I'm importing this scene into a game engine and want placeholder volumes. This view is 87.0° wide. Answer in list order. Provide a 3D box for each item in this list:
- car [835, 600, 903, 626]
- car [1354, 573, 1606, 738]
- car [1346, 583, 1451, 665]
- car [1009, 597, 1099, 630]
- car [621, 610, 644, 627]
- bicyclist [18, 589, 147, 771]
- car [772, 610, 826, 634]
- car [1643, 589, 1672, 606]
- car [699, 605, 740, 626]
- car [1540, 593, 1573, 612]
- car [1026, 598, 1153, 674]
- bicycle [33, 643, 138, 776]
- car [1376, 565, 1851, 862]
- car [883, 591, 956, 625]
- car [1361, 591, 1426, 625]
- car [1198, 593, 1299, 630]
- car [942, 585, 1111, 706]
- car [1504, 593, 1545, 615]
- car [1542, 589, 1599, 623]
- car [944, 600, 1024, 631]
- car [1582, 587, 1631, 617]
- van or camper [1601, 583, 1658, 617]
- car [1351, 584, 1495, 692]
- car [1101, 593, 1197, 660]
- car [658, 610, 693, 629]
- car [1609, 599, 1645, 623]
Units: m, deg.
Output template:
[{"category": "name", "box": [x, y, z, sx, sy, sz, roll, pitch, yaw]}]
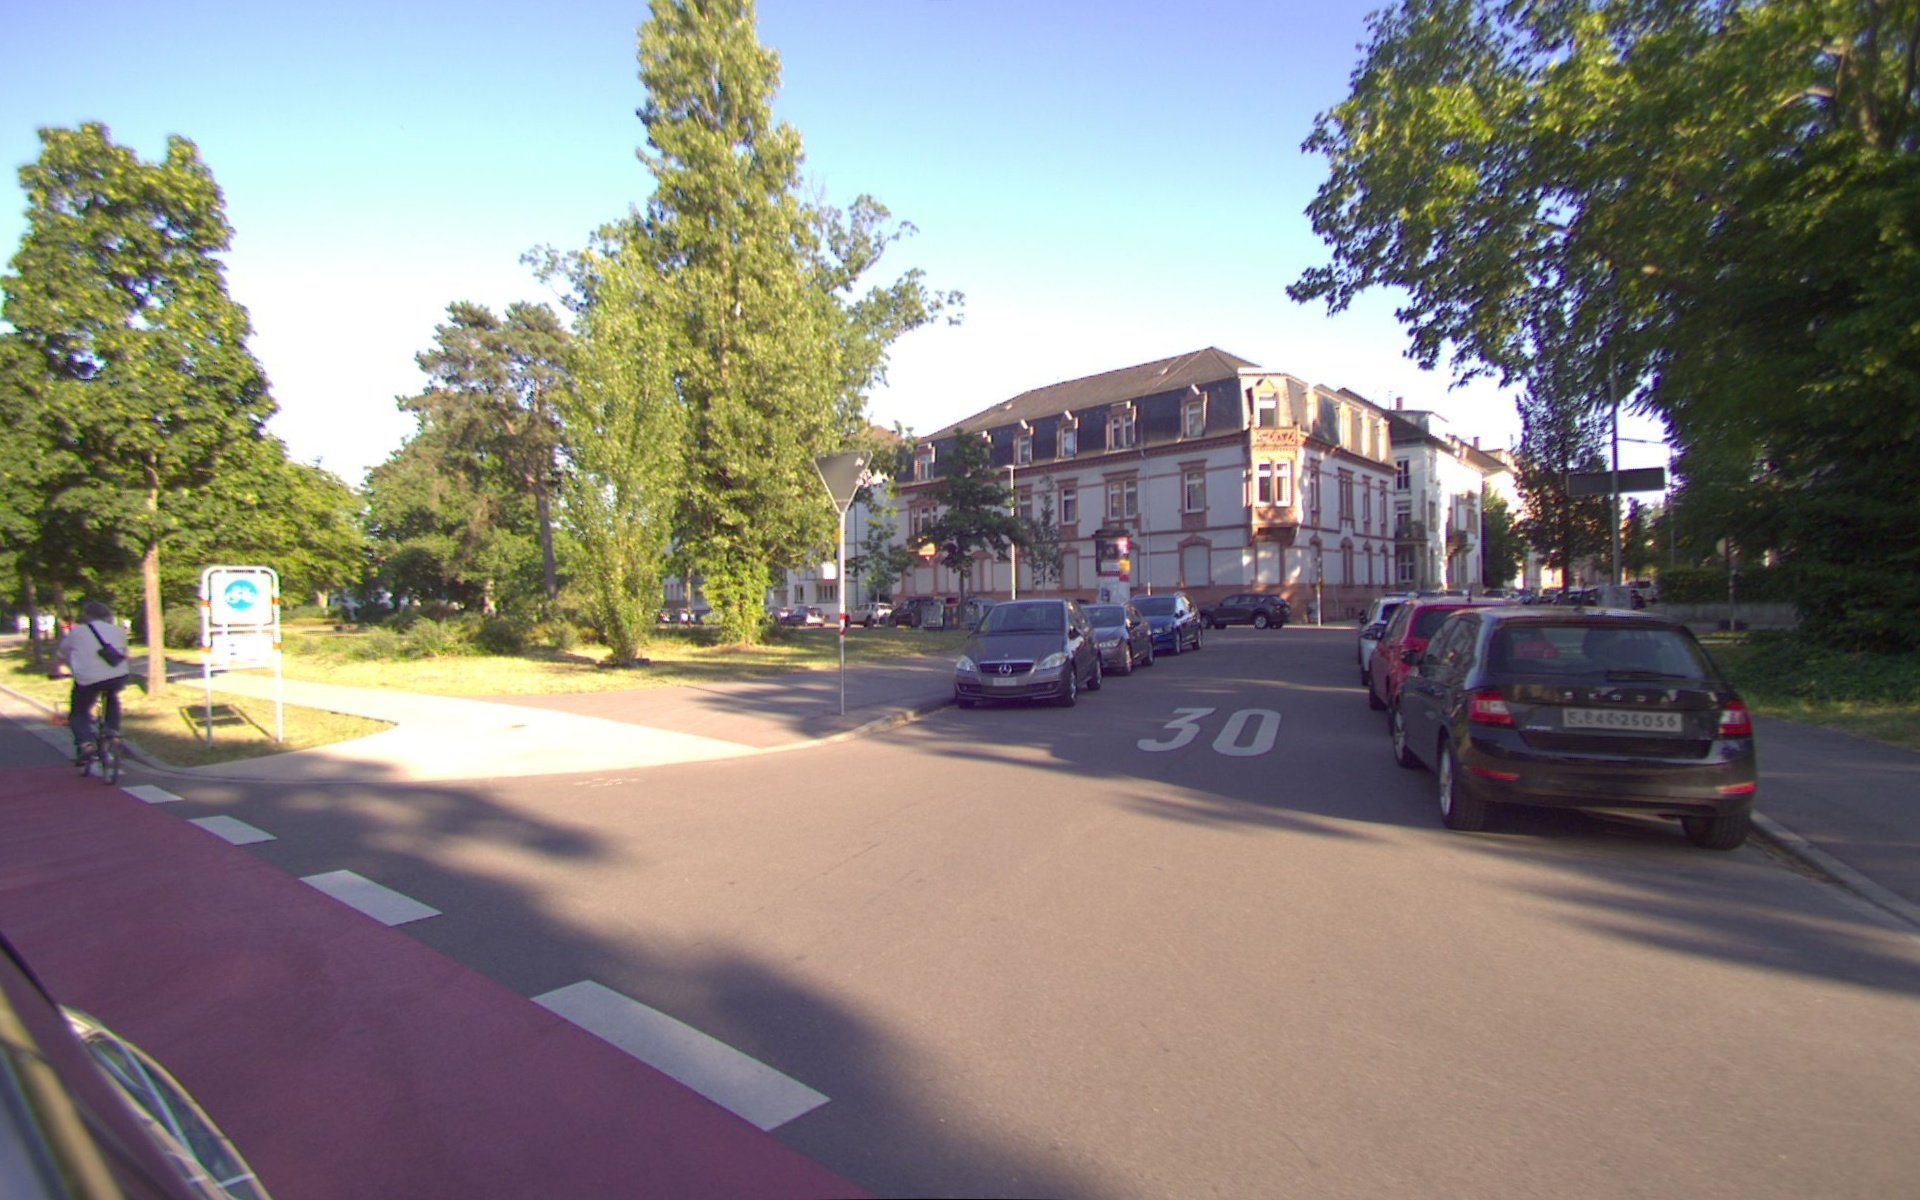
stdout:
[{"category": "car", "box": [-5.923, 0.823, 65.598, 4.601, 1.586, 1.863, 1, 1, 45]}, {"category": "car", "box": [5.865, 0.504, 11.943, 1.874, 1.586, 3.979, 0, 1, 16]}, {"category": "car", "box": [9.371, 0.445, 21.898, 1.877, 1.586, 3.973, 1, 1, 21]}, {"category": "car", "box": [4.898, 0.674, 53.256, 4.601, 1.586, 1.863, 1, 1, 45]}, {"category": "car", "box": [-35.191, 1.962, 108.763, 1.858, 1.586, 4.614, 0, 1, -24]}, {"category": "bicyclist", "box": [-8.862, 0.759, 10.224, 0.926, 1.715, 0.906, -1, 0, -43]}, {"category": "car", "box": [-11.622, 1.552, 73.007, 1.860, 1.586, 4.608, 0, 1, -38]}, {"category": "car", "box": [66.861, -0.269, 96.945, 1.890, 1.586, 3.946, 1, 1, 41]}, {"category": "car", "box": [-20.204, 1.298, 84.824, 1.859, 1.586, 4.612, 0, 1, -34]}, {"category": "car", "box": [52.872, 0.221, 89.684, 1.890, 1.586, 3.946, 1, 1, 40]}, {"category": "car", "box": [2.792, 0.682, 21.045, 1.825, 1.411, 4.250, -1, 0, 19]}, {"category": "bicycle", "box": [-8.861, 1.039, 10.227, 0.729, 1.144, 2.107, -1, 0, -42]}, {"category": "car", "box": [4.380, 0.575, 7.579, 1.874, 1.586, 3.979, 0, 1, 16]}, {"category": "car", "box": [-2.480, 0.457, 61.306, 1.860, 1.907, 4.986, 0, 1, -38]}, {"category": "car", "box": [21.535, 0.371, 50.221, 1.890, 1.586, 3.946, 1, 1, 40]}, {"category": "car", "box": [12.926, 0.482, 45.416, 3.993, 1.586, 1.867, 1, 1, 37]}, {"category": "car", "box": [1.174, 0.629, 15.894, 1.824, 1.643, 3.825, -1, 0, 17]}, {"category": "car", "box": [41.216, 0.264, 73.907, 1.890, 1.586, 3.946, 1, 1, 40]}, {"category": "car", "box": [29.811, 0.262, 49.364, 1.889, 1.586, 3.948, 1, 1, 38]}, {"category": "car", "box": [1.306, 0.825, 57.201, 1.862, 1.586, 4.605, 0, 1, -42]}, {"category": "car", "box": [36.203, 0.096, 56.673, 1.889, 1.586, 3.948, 1, 1, 39]}, {"category": "van or camper", "box": [53.392, -0.063, 80.817, 2.061, 2.569, 6.043, 0, 1, 17]}, {"category": "car", "box": [7.722, 0.537, 17.216, 1.877, 1.586, 3.973, 1, 1, 20]}, {"category": "car", "box": [5.193, 0.674, 27.385, 1.827, 1.656, 4.246, -1, 0, 21]}, {"category": "car", "box": [-26.264, 1.740, 93.368, 1.859, 1.586, 4.613, 0, 1, -32]}, {"category": "car", "box": [47.252, 0.770, 71.656, 1.888, 1.586, 3.950, 1, 1, 37]}]
